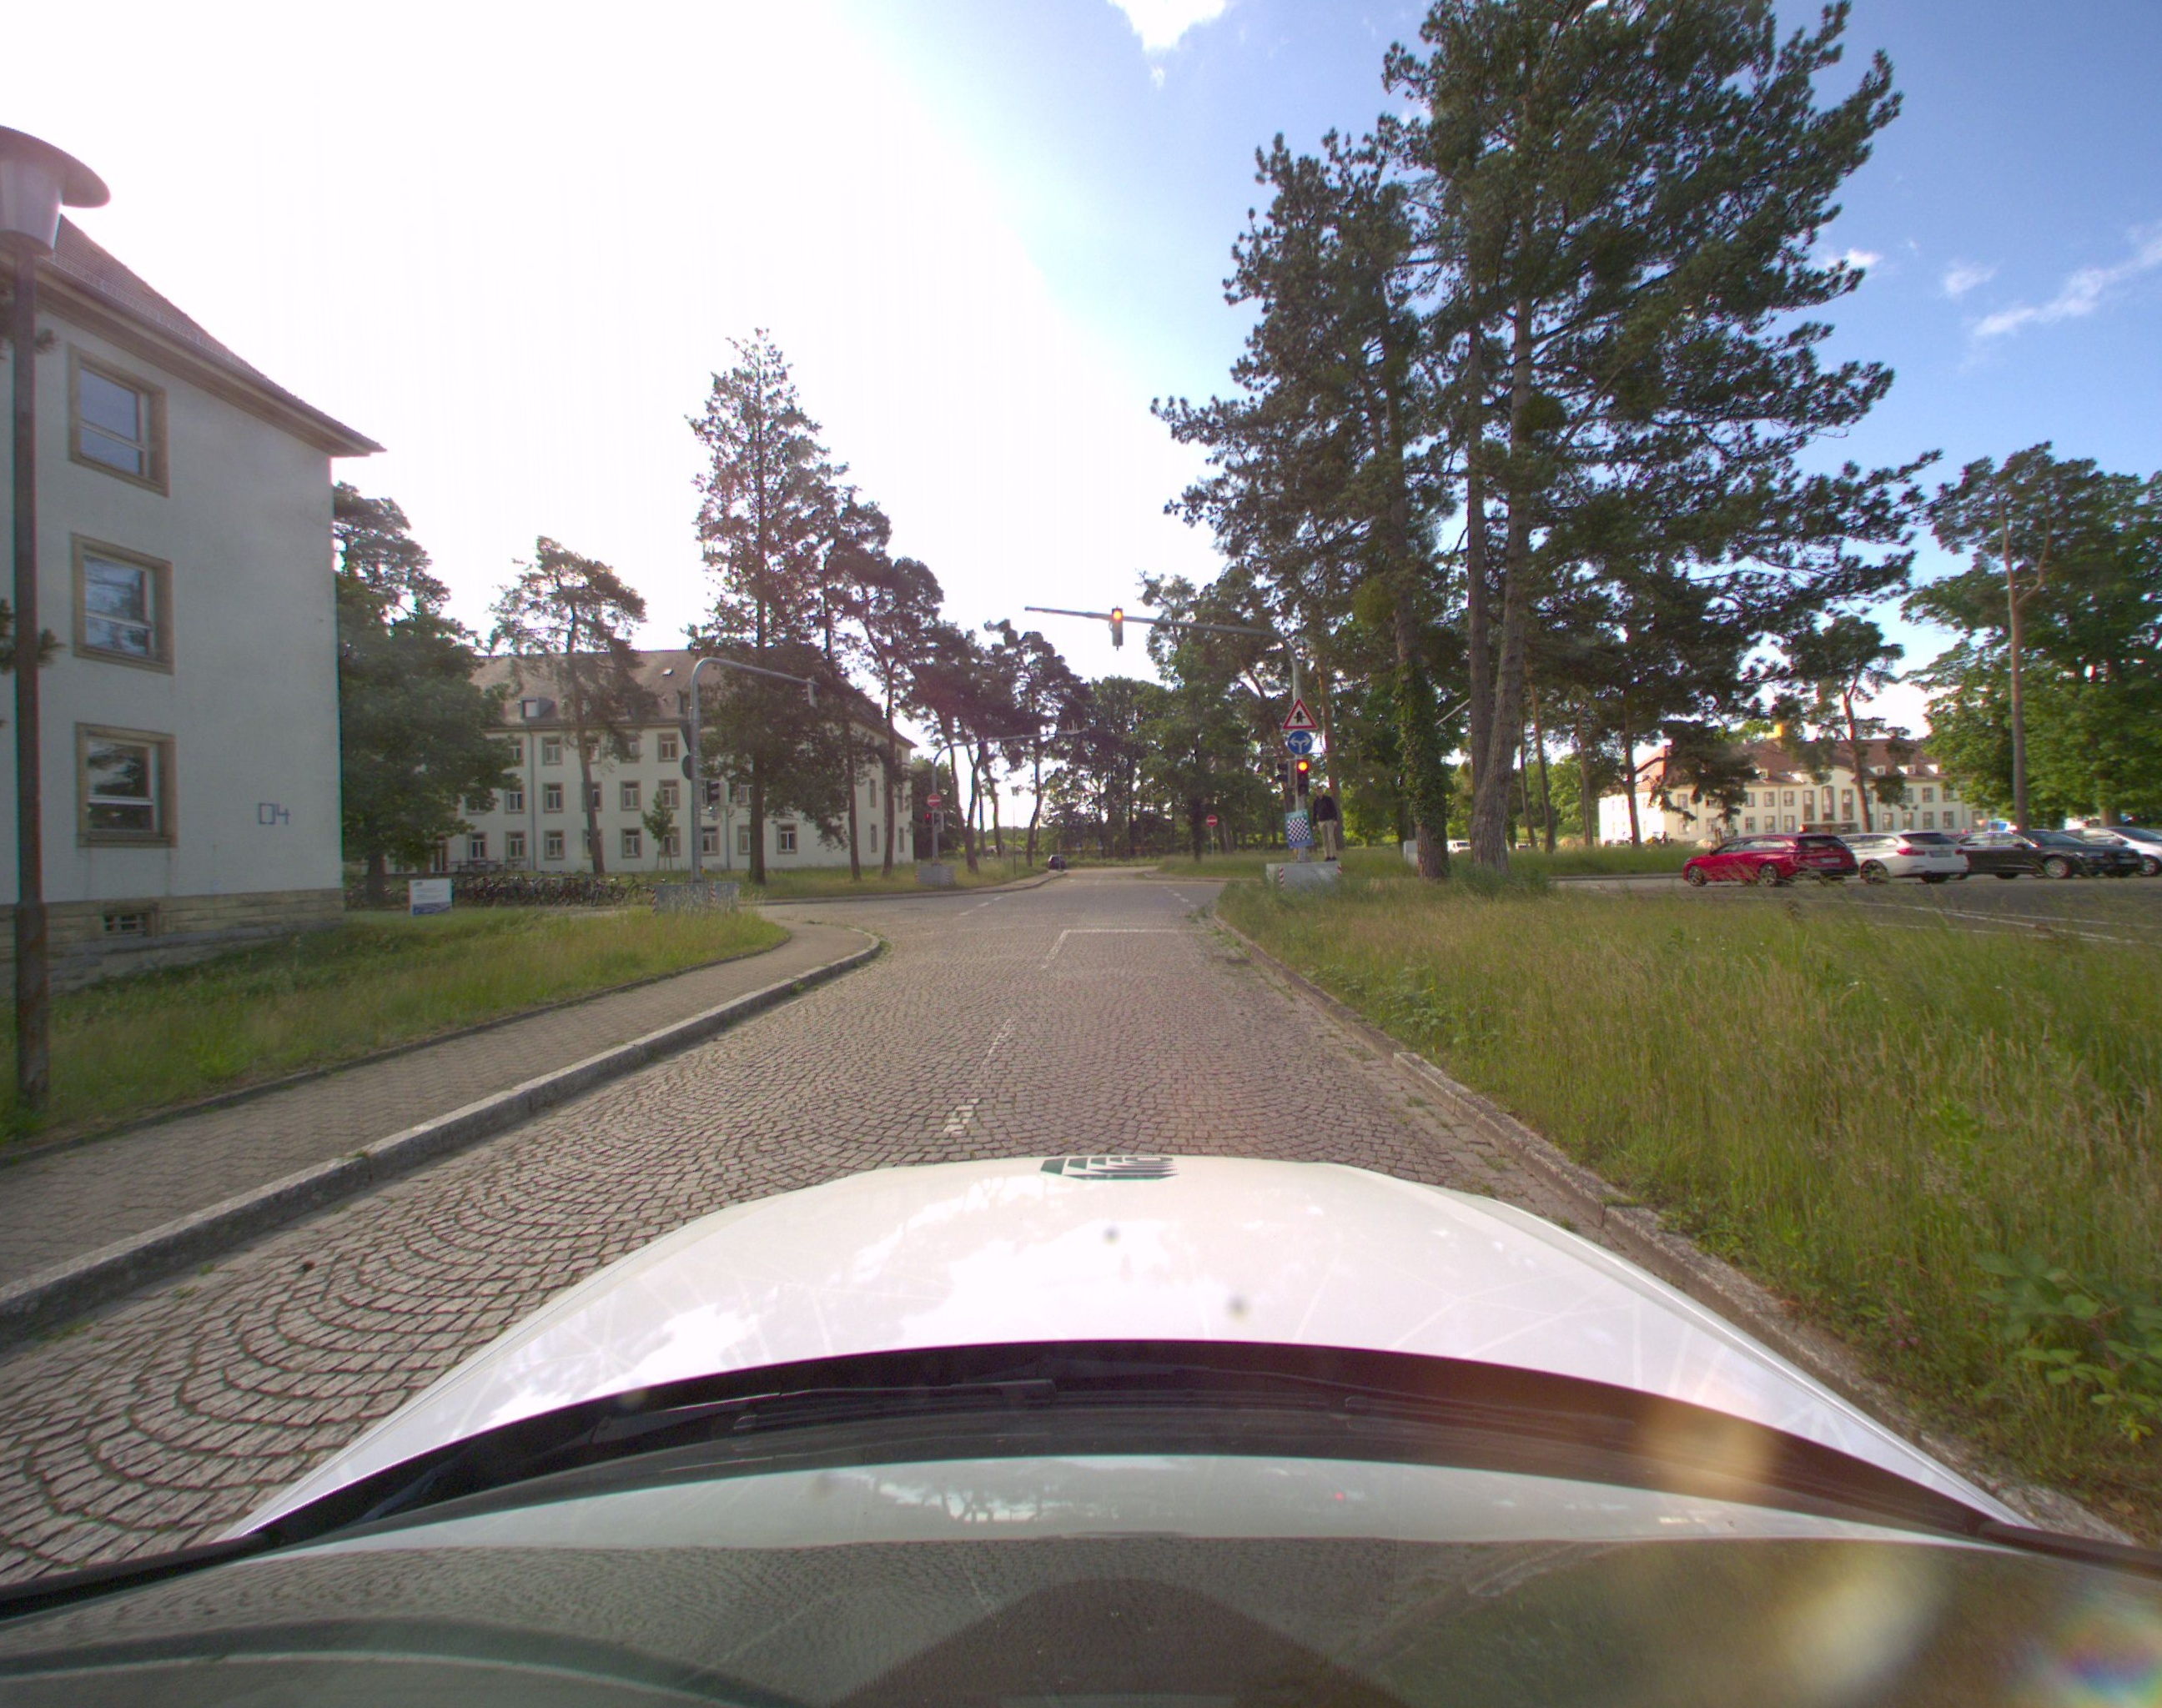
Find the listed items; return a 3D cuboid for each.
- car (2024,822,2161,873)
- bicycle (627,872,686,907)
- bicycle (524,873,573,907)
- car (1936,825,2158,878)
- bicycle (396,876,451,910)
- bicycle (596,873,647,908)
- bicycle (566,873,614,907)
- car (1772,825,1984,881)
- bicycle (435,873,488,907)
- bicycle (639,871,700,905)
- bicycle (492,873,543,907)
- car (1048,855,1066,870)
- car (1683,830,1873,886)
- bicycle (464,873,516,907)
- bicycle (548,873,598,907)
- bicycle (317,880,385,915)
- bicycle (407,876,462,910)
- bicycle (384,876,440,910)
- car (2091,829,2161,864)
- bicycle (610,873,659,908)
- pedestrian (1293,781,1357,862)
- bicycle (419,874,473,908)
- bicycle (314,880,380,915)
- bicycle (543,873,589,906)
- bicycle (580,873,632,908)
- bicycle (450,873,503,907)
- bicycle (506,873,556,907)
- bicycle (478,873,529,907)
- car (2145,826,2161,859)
[{"bbox_3d":[30.181,-0.176,23.486,1.716,1.372,3.796,0,0,4],"label":"car"},{"bbox_3d":[-15.732,1.298,30.204,1.855,1.220,0.635,-2,0,1],"label":"bicycle"},{"bbox_3d":[-20.718,1.380,31.713,0.512,1.220,2.016,-2,0,2],"label":"bicycle"},{"bbox_3d":[27.260,-0.059,23.209,1.610,1.315,4.048,-3,0,3],"label":"car"},{"bbox_3d":[-25.604,1.503,31.755,0.512,1.220,1.938,-2,0,2],"label":"bicycle"},{"bbox_3d":[-17.448,1.355,30.985,0.630,1.220,2.125,-2,0,2],"label":"bicycle"},{"bbox_3d":[-18.894,1.366,31.404,0.570,1.220,1.990,-2,0,2],"label":"bicycle"},{"bbox_3d":[22.152,0.033,22.923,1.773,1.379,4.240,-2,-2,0],"label":"car"},{"bbox_3d":[-24.103,1.400,31.738,0.512,1.220,1.938,-2,0,2],"label":"bicycle"},{"bbox_3d":[-15.606,1.275,30.916,1.937,1.220,0.635,-2,0,1],"label":"bicycle"},{"bbox_3d":[-21.885,1.385,31.680,0.512,1.220,1.978,-2,0,2],"label":"bicycle"},{"bbox_3d":[-2.539,0.887,87.268,1.704,1.496,3.918,-2,0,0],"label":"car"},{"bbox_3d":[19.309,0.131,22.866,1.740,1.399,4.328,0,-1,2],"label":"car"},{"bbox_3d":[-22.966,1.391,31.677,0.512,1.220,1.938,-2,0,2],"label":"bicycle"},{"bbox_3d":[-19.638,1.374,31.547,0.576,1.220,2.030,-2,0,2],"label":"bicycle"},{"bbox_3d":[-27.427,1.628,30.640,1.836,1.220,0.510,-2,0,-34],"label":"bicycle"},{"bbox_3d":[-25.174,1.499,31.747,0.512,1.220,1.938,-2,0,2],"label":"bicycle"},{"bbox_3d":[-26.051,1.506,31.770,0.512,1.220,1.938,-2,0,2],"label":"bicycle"},{"bbox_3d":[44.913,-0.299,33.449,1.717,1.425,4.243,0,0,2],"label":"car"},{"bbox_3d":[-16.964,1.351,30.986,0.630,1.220,2.115,-2,0,2],"label":"bicycle"},{"bbox_3d":[5.796,-0.752,19.303,1.157,1.796,1.069,-2,0,31],"label":"pedestrian"},{"bbox_3d":[-24.713,1.404,31.737,0.512,1.220,1.938,-2,0,2],"label":"bicycle"},{"bbox_3d":[-28.502,1.676,31.650,0.509,1.220,1.841,-2,0,39],"label":"bicycle"},{"bbox_3d":[-20.197,1.375,31.979,0.546,1.220,1.900,-2,0,2],"label":"bicycle"},{"bbox_3d":[-18.051,1.360,31.003,0.630,1.220,2.105,-2,0,2],"label":"bicycle"},{"bbox_3d":[-23.511,1.395,31.709,0.512,1.220,1.938,-2,0,2],"label":"bicycle"},{"bbox_3d":[-21.367,1.385,31.677,0.512,1.220,1.978,-2,0,2],"label":"bicycle"},{"bbox_3d":[-22.411,1.387,31.656,0.512,1.220,1.955,-2,0,2],"label":"bicycle"},{"bbox_3d":[47.932,-0.514,33.936,1.717,1.468,4.243,0,0,2],"label":"car"}]
